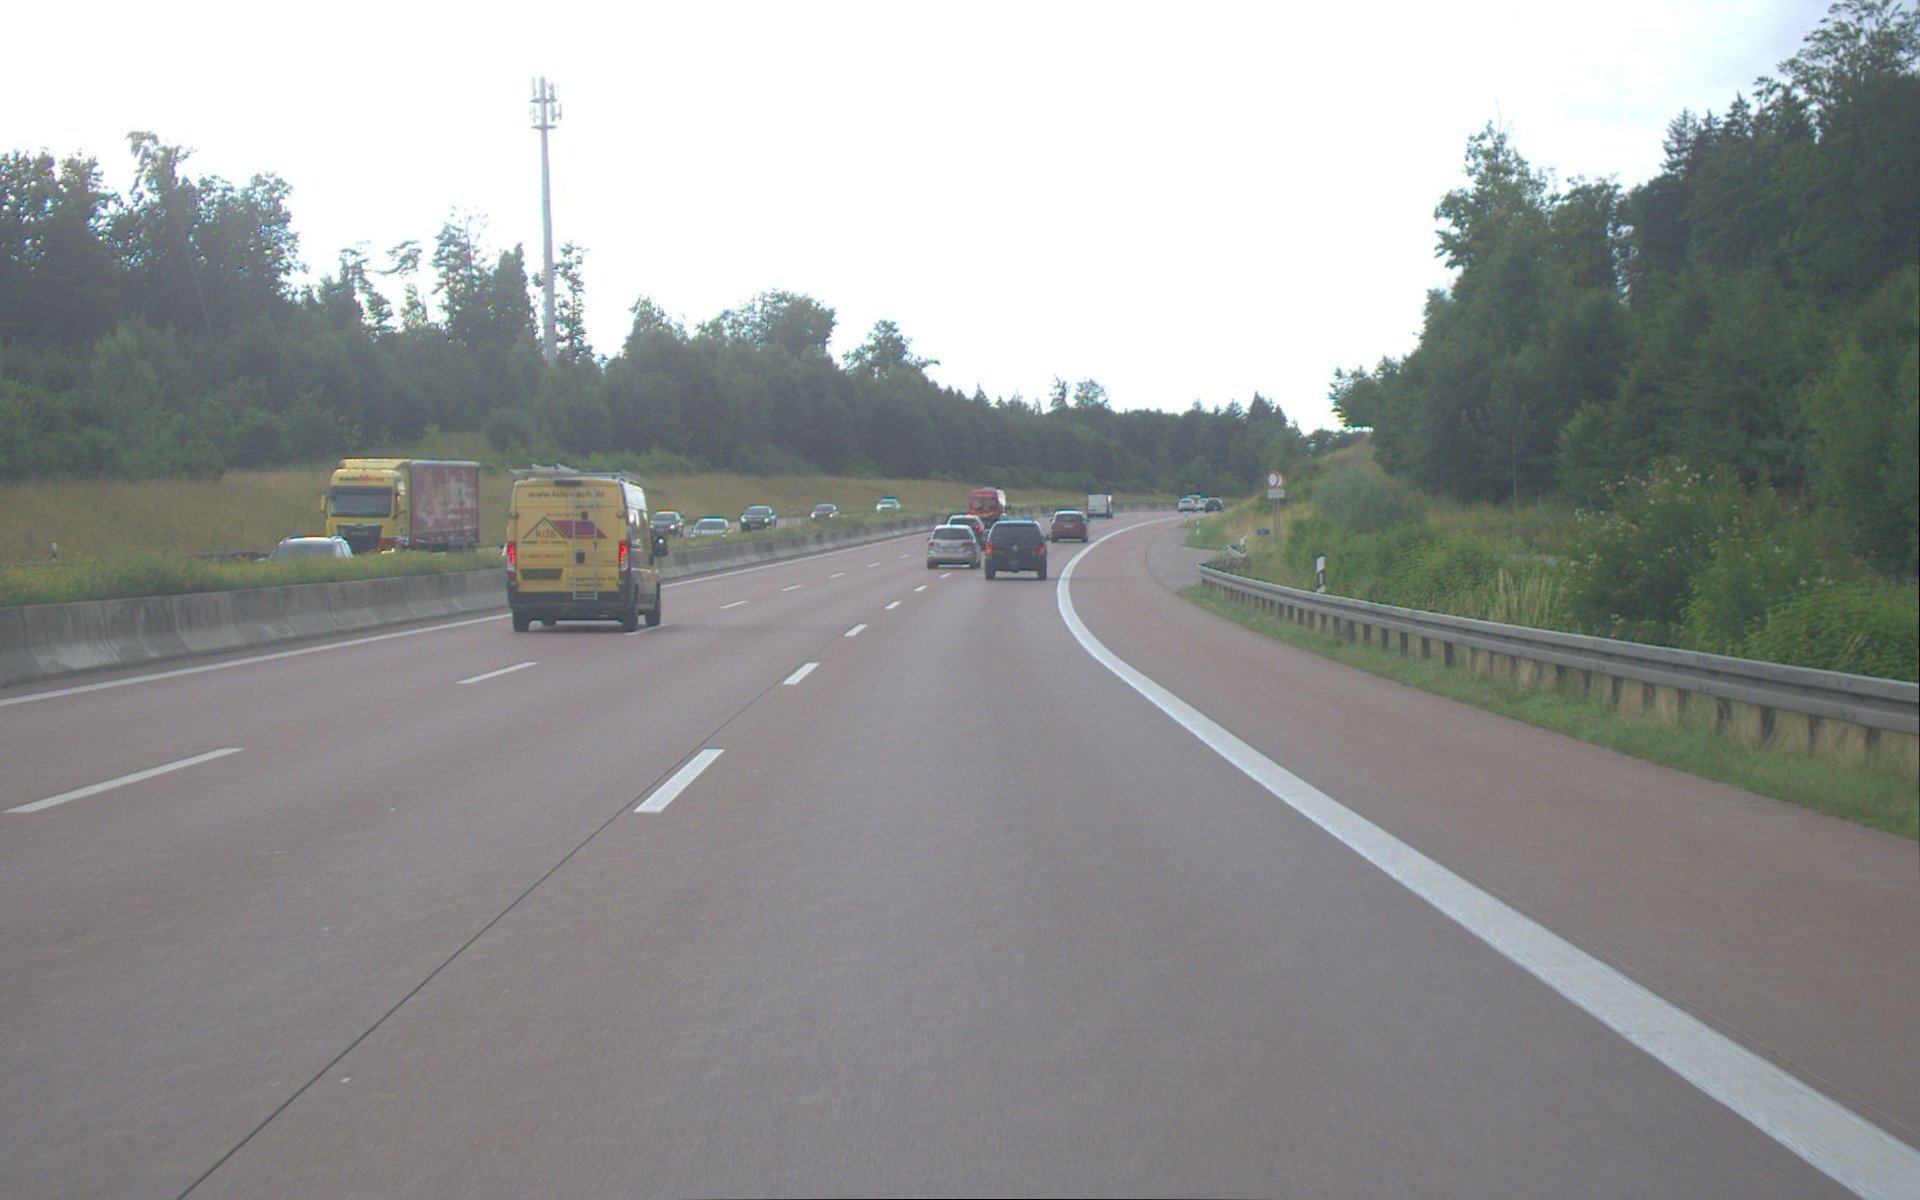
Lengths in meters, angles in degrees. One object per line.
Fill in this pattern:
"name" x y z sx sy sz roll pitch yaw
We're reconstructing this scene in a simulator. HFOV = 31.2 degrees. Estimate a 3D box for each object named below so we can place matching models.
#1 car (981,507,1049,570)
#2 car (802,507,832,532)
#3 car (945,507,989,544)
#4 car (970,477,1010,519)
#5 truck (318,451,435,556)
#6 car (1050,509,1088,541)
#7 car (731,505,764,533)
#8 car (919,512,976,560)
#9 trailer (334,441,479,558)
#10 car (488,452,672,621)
"car" 1.728 -1.890 106.888 2.044 1.890 5.577 -1 1 1
"car" -10.269 -5.819 247.724 1.807 1.809 4.000 0 2 3
"car" 0.341 -3.485 161.373 1.978 1.642 4.619 -1 1 1
"car" 1.865 -6.238 211.005 2.241 2.421 6.204 2 1 2
"truck" -20.837 -3.417 123.076 3.012 3.570 6.057 1 0 1
"car" 5.779 -3.982 182.428 1.978 1.642 4.619 -1 1 1
"car" -13.144 -5.028 212.812 1.762 1.632 4.380 1 0 0
"car" -0.439 -2.279 123.494 1.977 1.642 4.619 -1 1 0
"trailer" -20.794 -3.669 130.126 3.033 4.028 14.531 1 0 0
"car" -6.357 -1.045 58.207 2.458 2.697 5.614 -1 1 0
